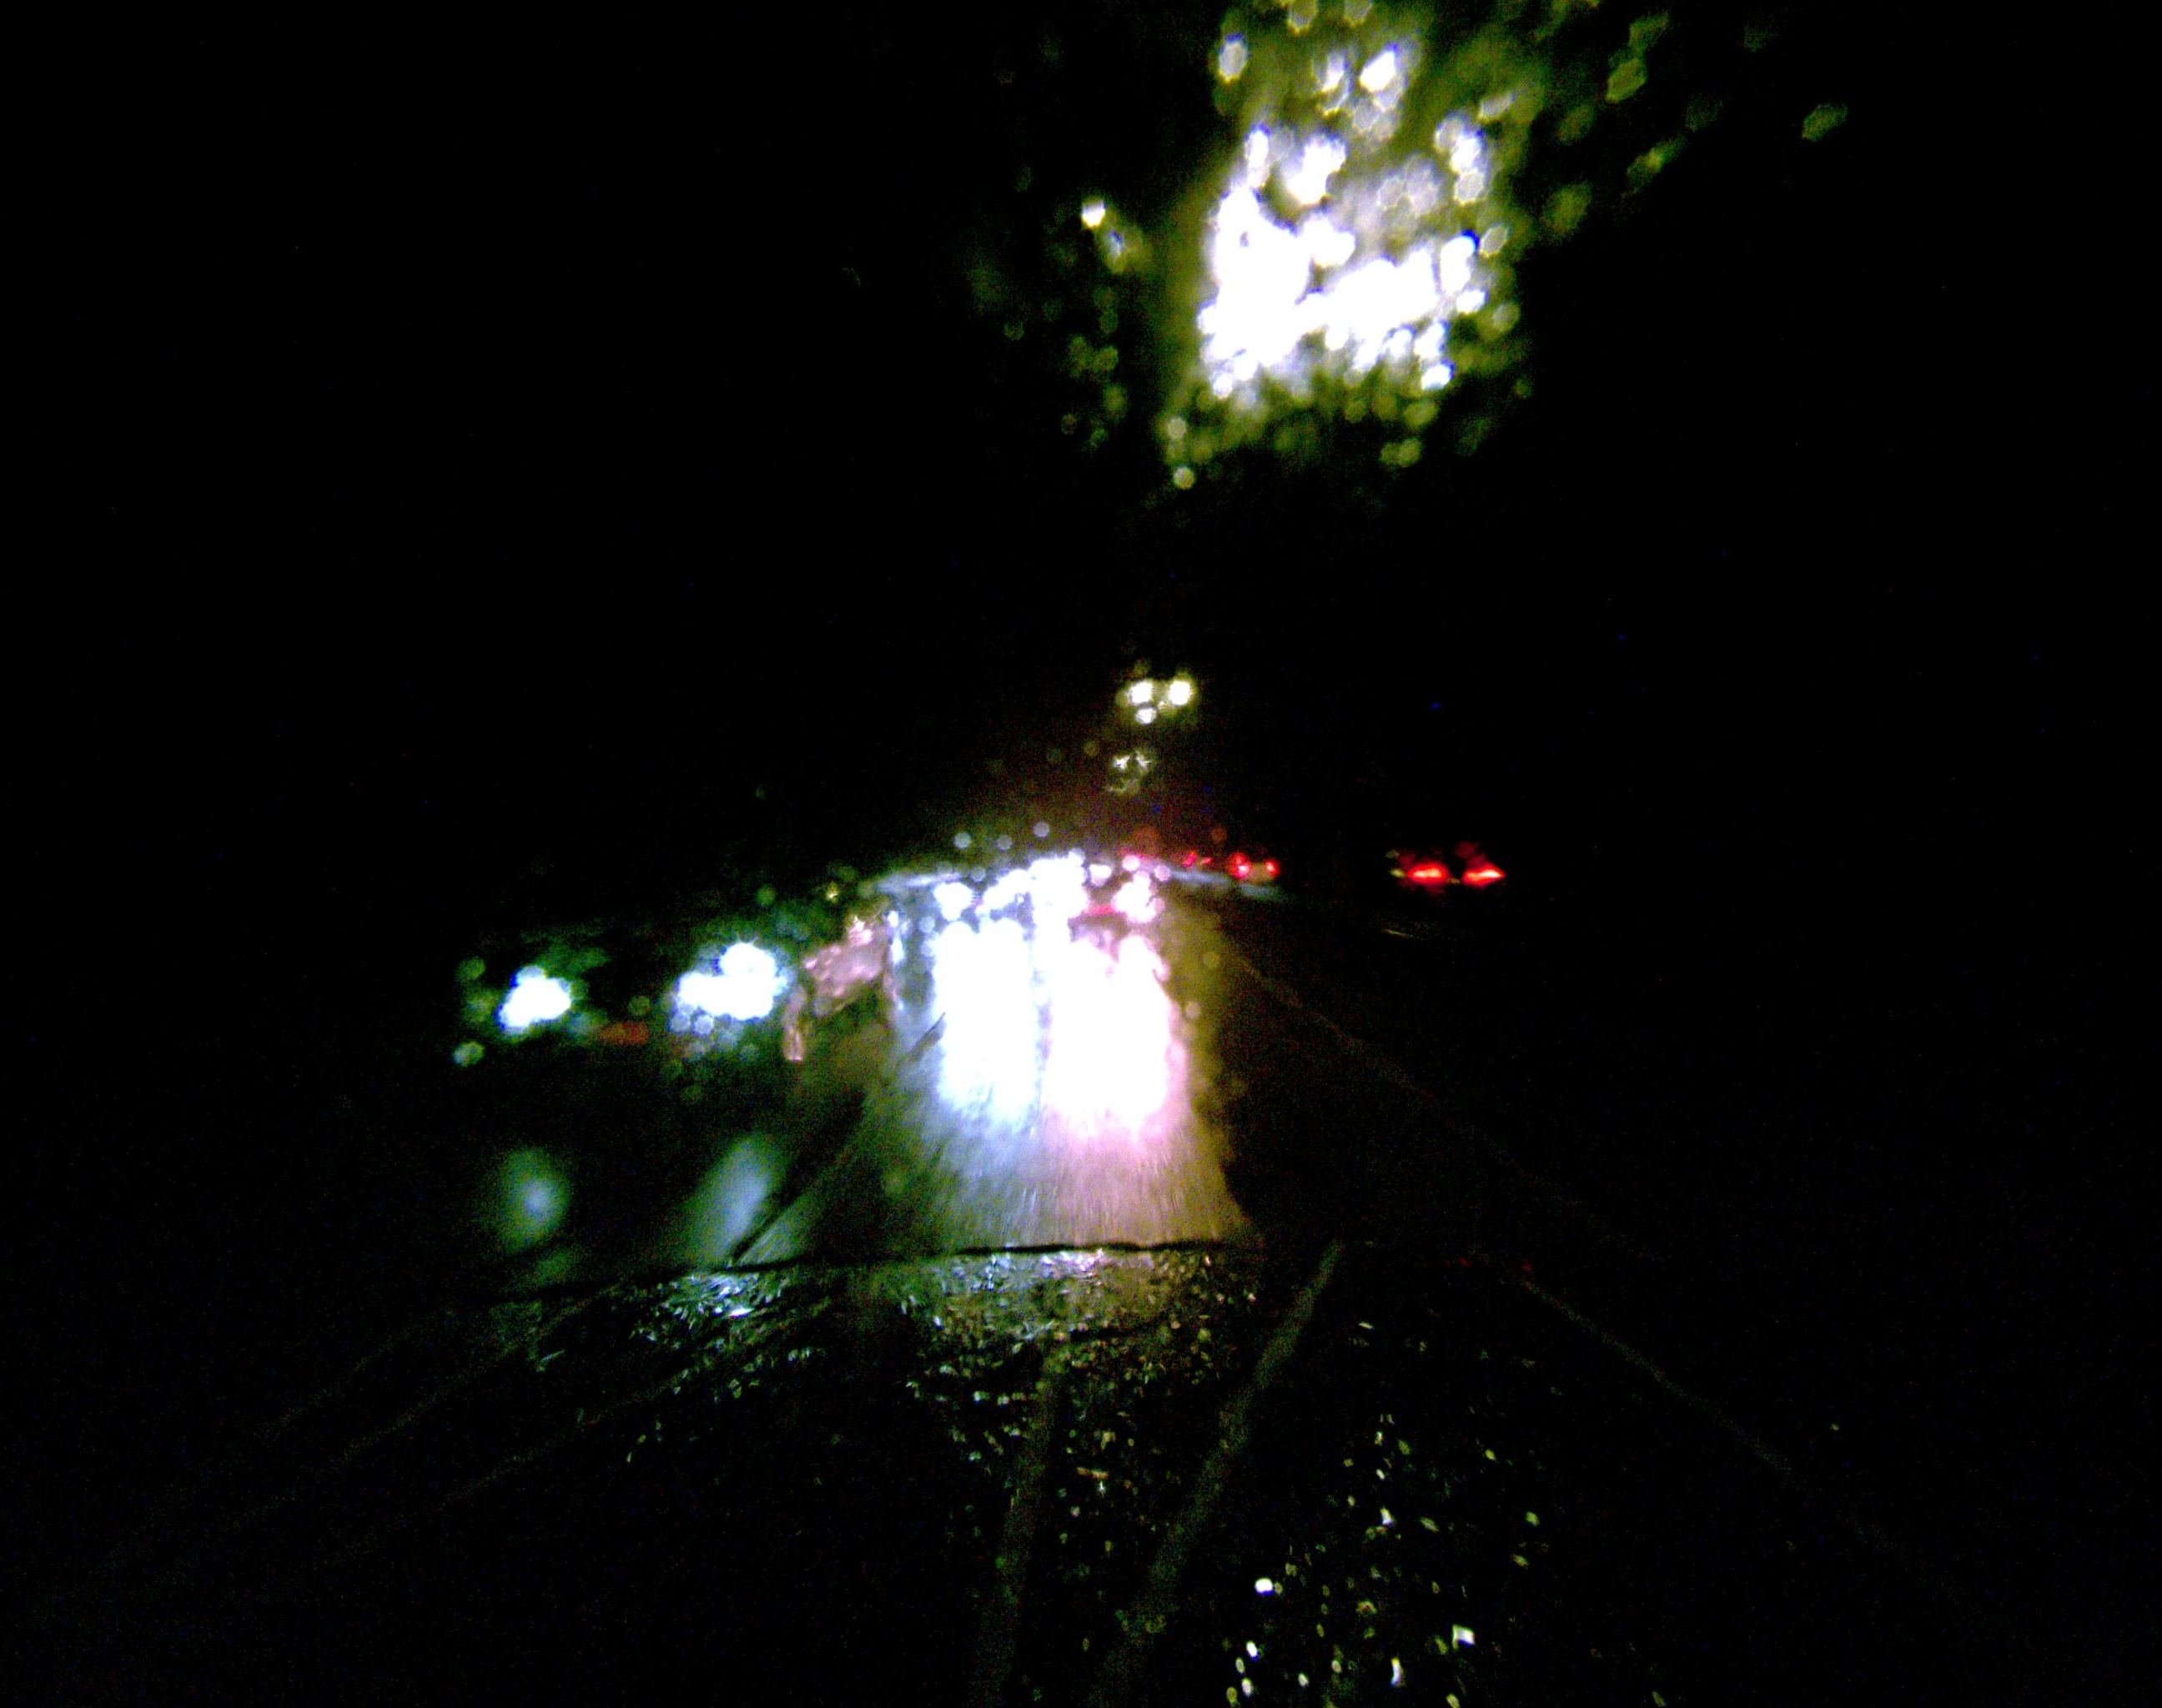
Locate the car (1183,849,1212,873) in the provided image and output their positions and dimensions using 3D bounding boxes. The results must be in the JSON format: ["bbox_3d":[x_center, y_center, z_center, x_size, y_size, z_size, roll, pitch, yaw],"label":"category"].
[{"bbox_3d":[8.383,0.497,54.999,1.624,1.641,4.000,-1,1,3],"label":"car"}]

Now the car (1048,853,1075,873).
[{"bbox_3d":[-1.571,0.722,63.535,1.998,1.531,4.000,-2,0,2],"label":"car"}]

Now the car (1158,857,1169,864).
[{"bbox_3d":[15.646,1.204,144.274,1.614,1.373,4.164,0,0,2],"label":"car"}]

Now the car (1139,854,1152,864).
[{"bbox_3d":[10.438,0.761,123.325,1.860,1.467,4.778,-2,0,1],"label":"car"}]

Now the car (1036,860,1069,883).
[{"bbox_3d":[-1.983,1.191,53.644,1.998,1.455,4.000,-2,0,2],"label":"car"}]

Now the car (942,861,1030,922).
[{"bbox_3d":[-2.636,1.003,22.142,1.826,1.476,4.568,-2,0,1],"label":"car"}]

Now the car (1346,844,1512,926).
[{"bbox_3d":[7.586,0.620,17.034,1.813,1.559,4.000,2,0,-1],"label":"car"}]

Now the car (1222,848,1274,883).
[{"bbox_3d":[7.855,0.511,36.128,1.571,1.533,4.161,1,0,1],"label":"car"}]

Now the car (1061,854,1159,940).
[{"bbox_3d":[0.589,0.806,16.120,1.764,1.492,4.000,-3,0,1],"label":"car"}]

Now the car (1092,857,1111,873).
[{"bbox_3d":[2.477,1.325,92.955,1.999,1.774,3.999,-3,1,-1],"label":"car"}]

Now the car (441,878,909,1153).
[{"bbox_3d":[-3.027,1.070,7.034,1.736,1.440,4.724,-3,0,0],"label":"car"}]
